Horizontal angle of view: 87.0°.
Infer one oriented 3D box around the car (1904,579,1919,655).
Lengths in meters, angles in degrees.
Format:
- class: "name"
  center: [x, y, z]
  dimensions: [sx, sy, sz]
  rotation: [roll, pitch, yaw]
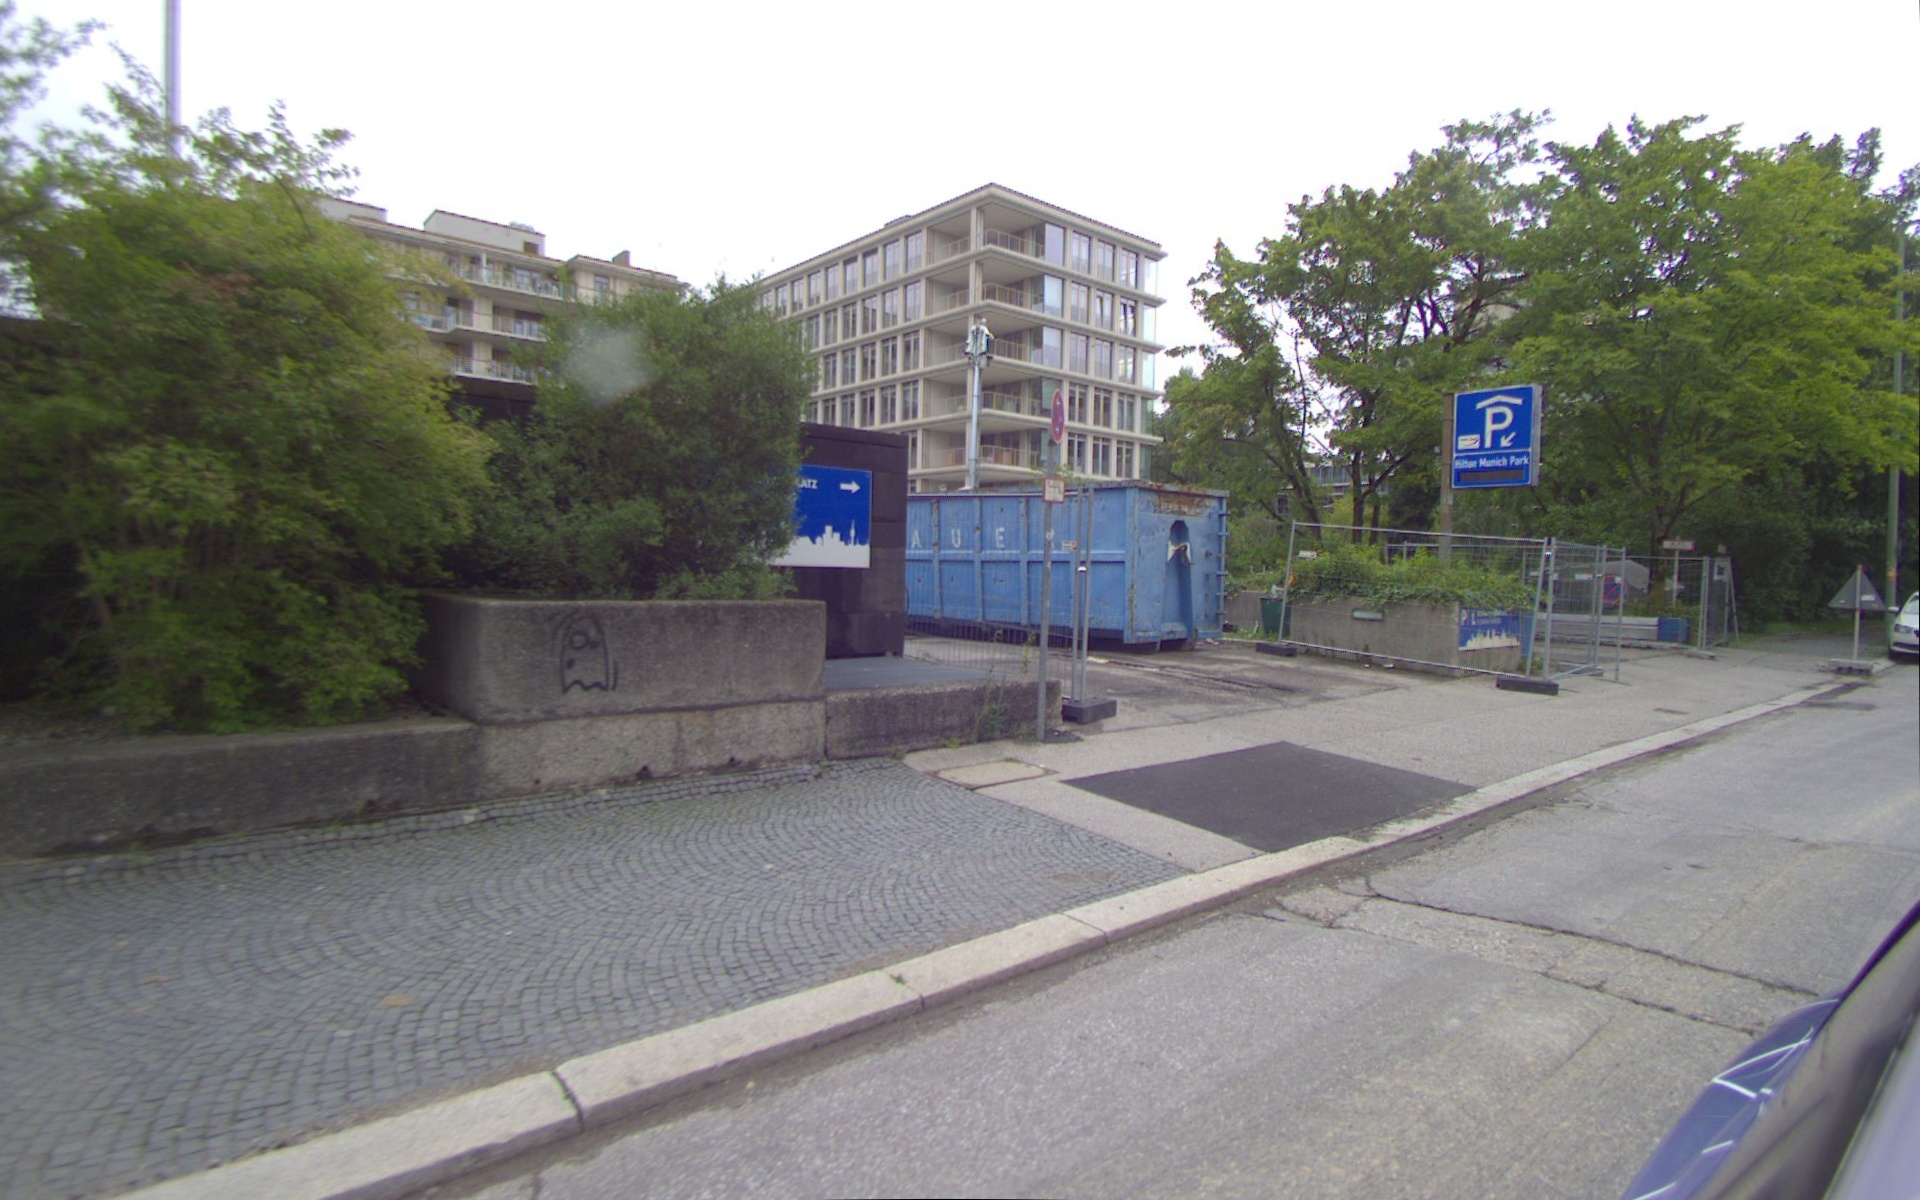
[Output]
- class: "car"
  center: [21.600, 0.350, 21.832]
  dimensions: [3.993, 1.510, 1.534]
  rotation: [-2, 3, -43]
